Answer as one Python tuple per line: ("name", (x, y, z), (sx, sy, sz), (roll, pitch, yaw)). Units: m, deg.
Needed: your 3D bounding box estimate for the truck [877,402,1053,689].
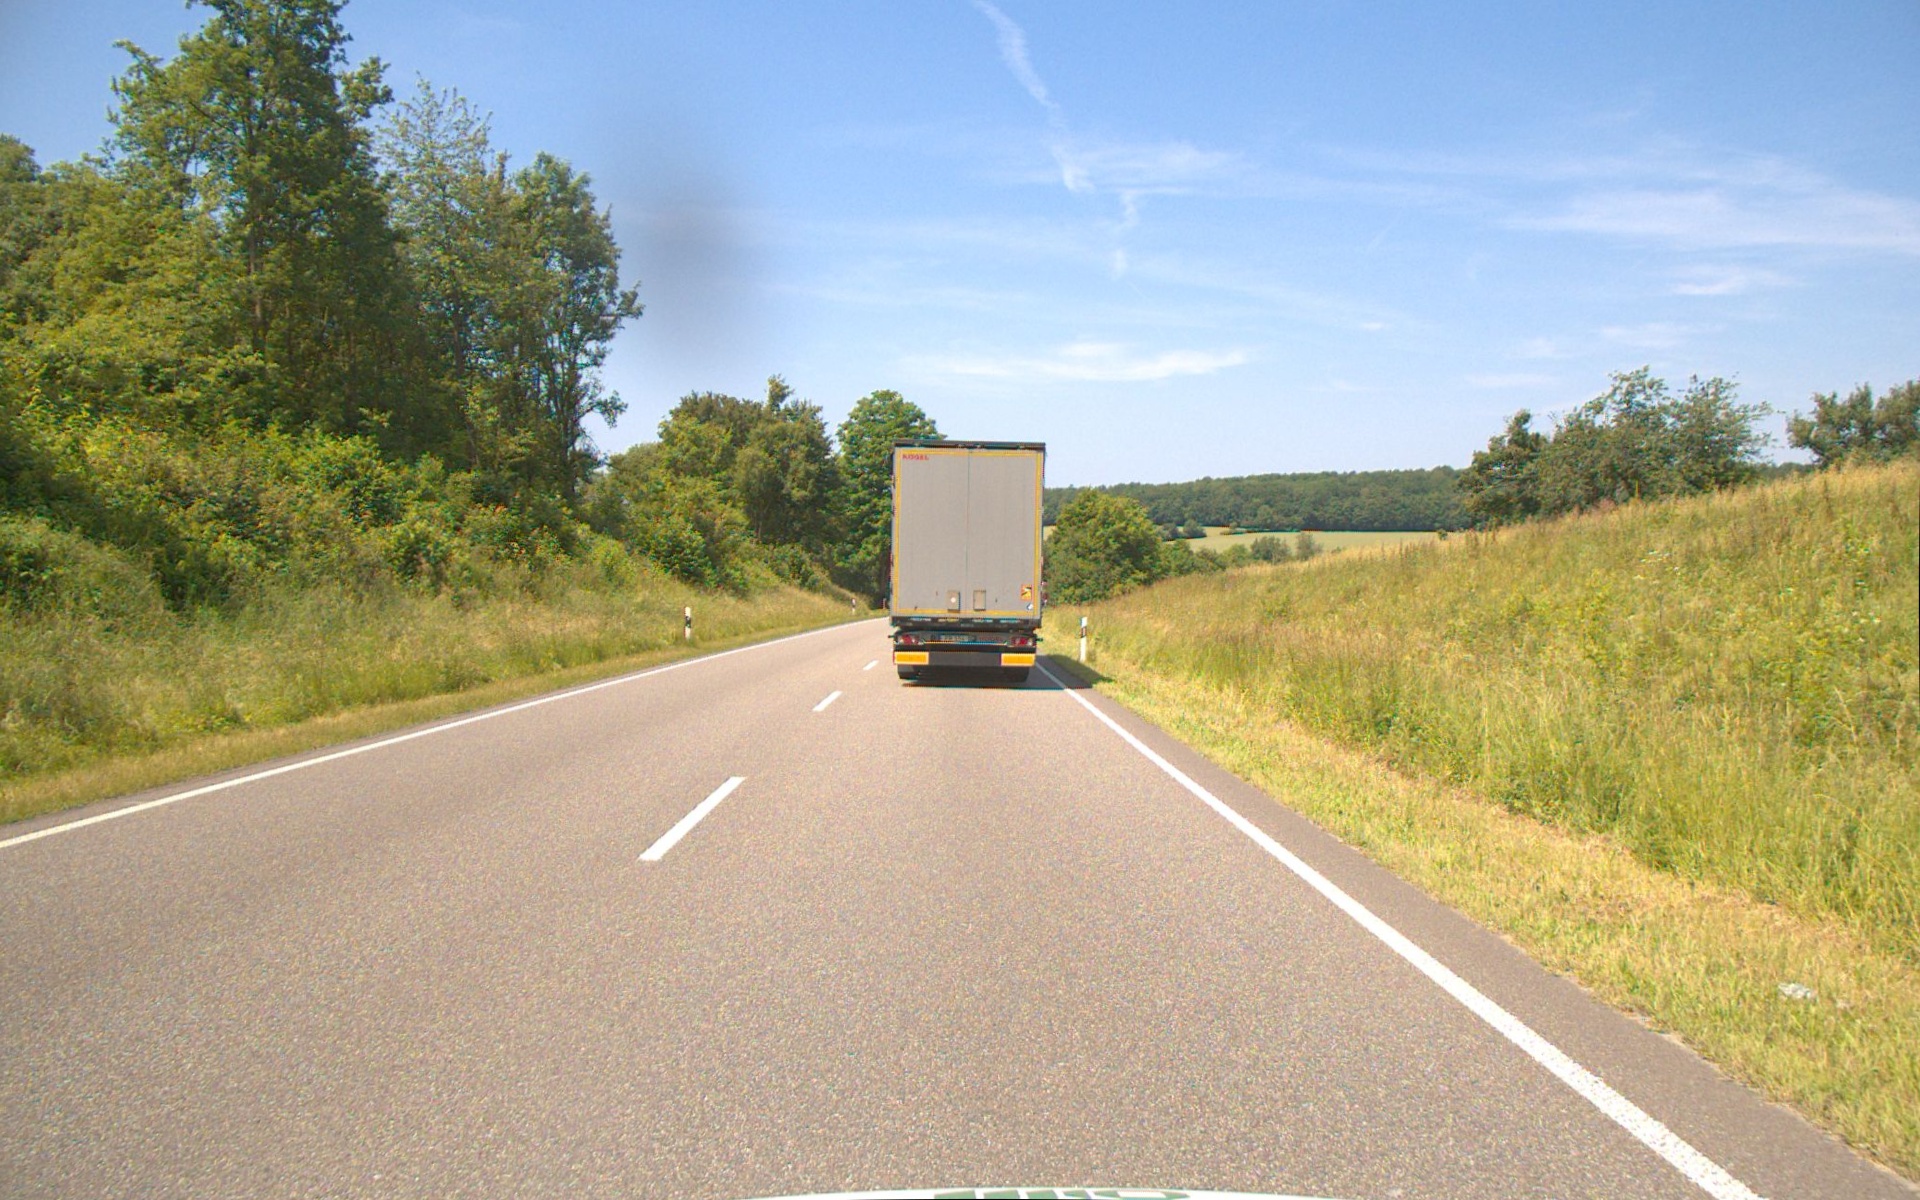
("truck", (-0.030, -0.913, 32.830), (2.760, 4.611, 11.765), (1, 0, -1))
